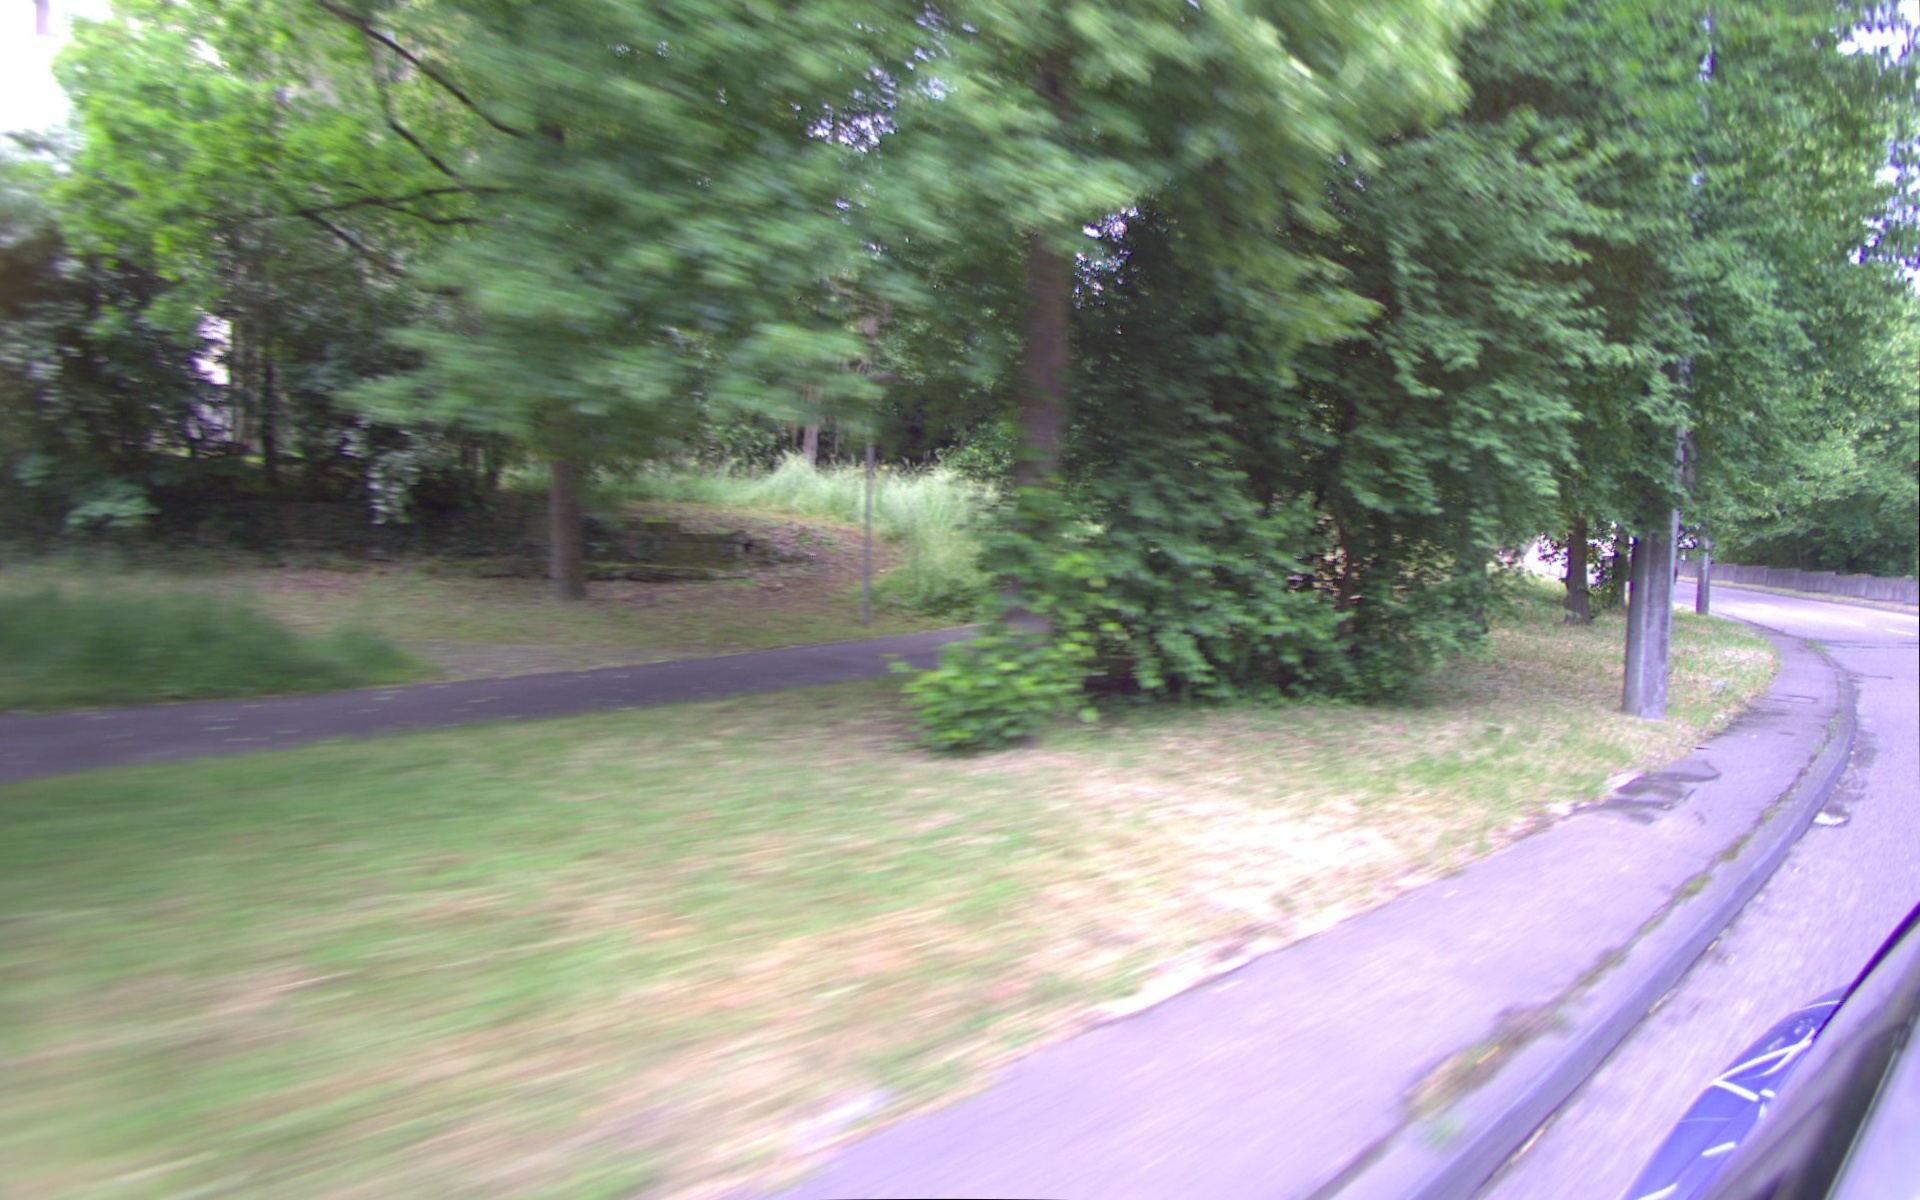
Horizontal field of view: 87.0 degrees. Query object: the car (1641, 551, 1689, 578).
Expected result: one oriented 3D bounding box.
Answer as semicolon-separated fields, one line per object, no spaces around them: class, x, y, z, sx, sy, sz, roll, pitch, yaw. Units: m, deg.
car;44.609;-2.286;64.132;1.712;1.660;4.023;1;3;24
